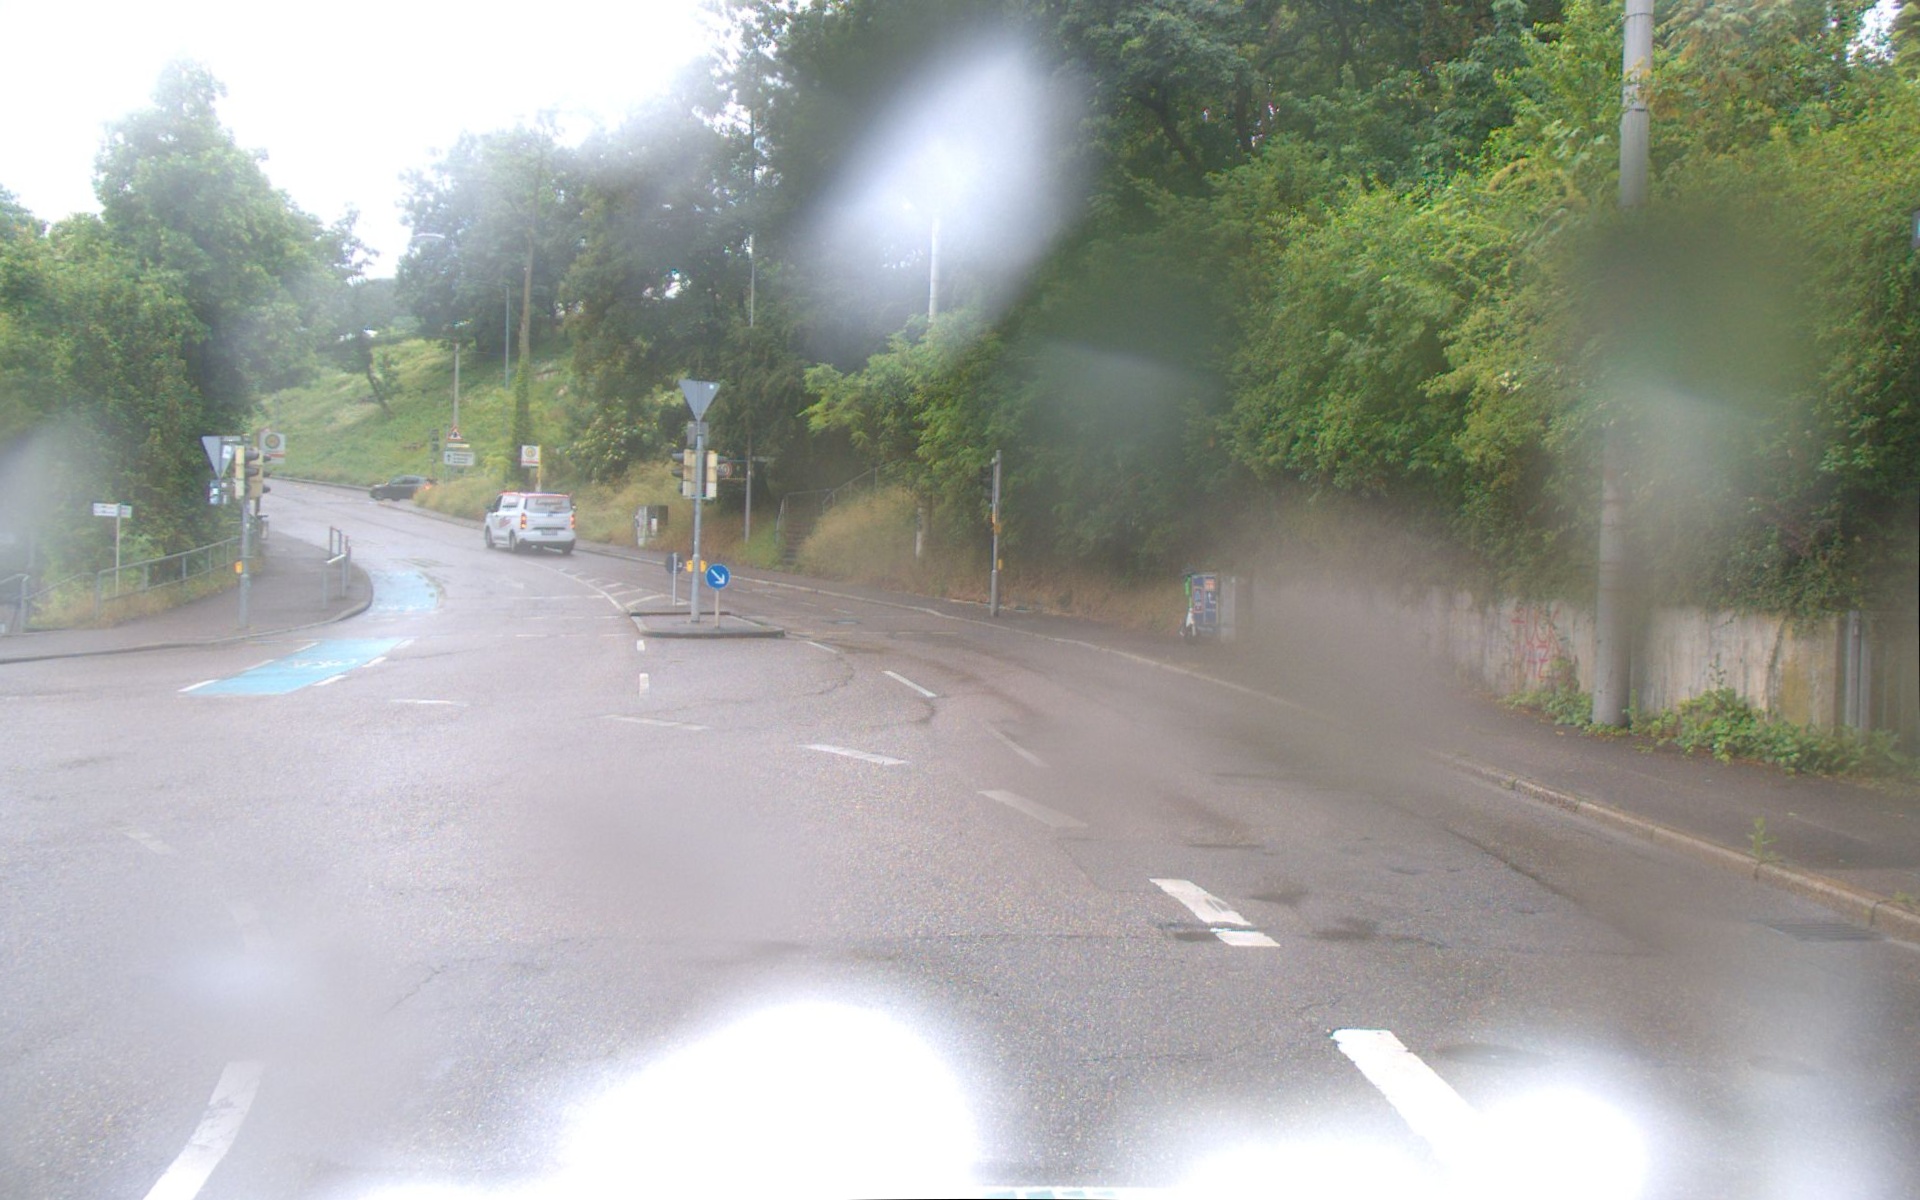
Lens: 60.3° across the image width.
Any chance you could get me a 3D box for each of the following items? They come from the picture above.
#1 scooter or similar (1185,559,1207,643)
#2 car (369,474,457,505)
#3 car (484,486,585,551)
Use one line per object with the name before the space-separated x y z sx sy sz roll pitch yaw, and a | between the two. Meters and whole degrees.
scooter or similar | 3.778 0.012 26.507 0.315 1.302 0.752 0 3 7
car | -30.866 -6.239 93.341 4.297 1.538 1.965 3 3 13
car | -14.381 -2.703 55.723 2.045 2.041 4.765 0 1 -31
